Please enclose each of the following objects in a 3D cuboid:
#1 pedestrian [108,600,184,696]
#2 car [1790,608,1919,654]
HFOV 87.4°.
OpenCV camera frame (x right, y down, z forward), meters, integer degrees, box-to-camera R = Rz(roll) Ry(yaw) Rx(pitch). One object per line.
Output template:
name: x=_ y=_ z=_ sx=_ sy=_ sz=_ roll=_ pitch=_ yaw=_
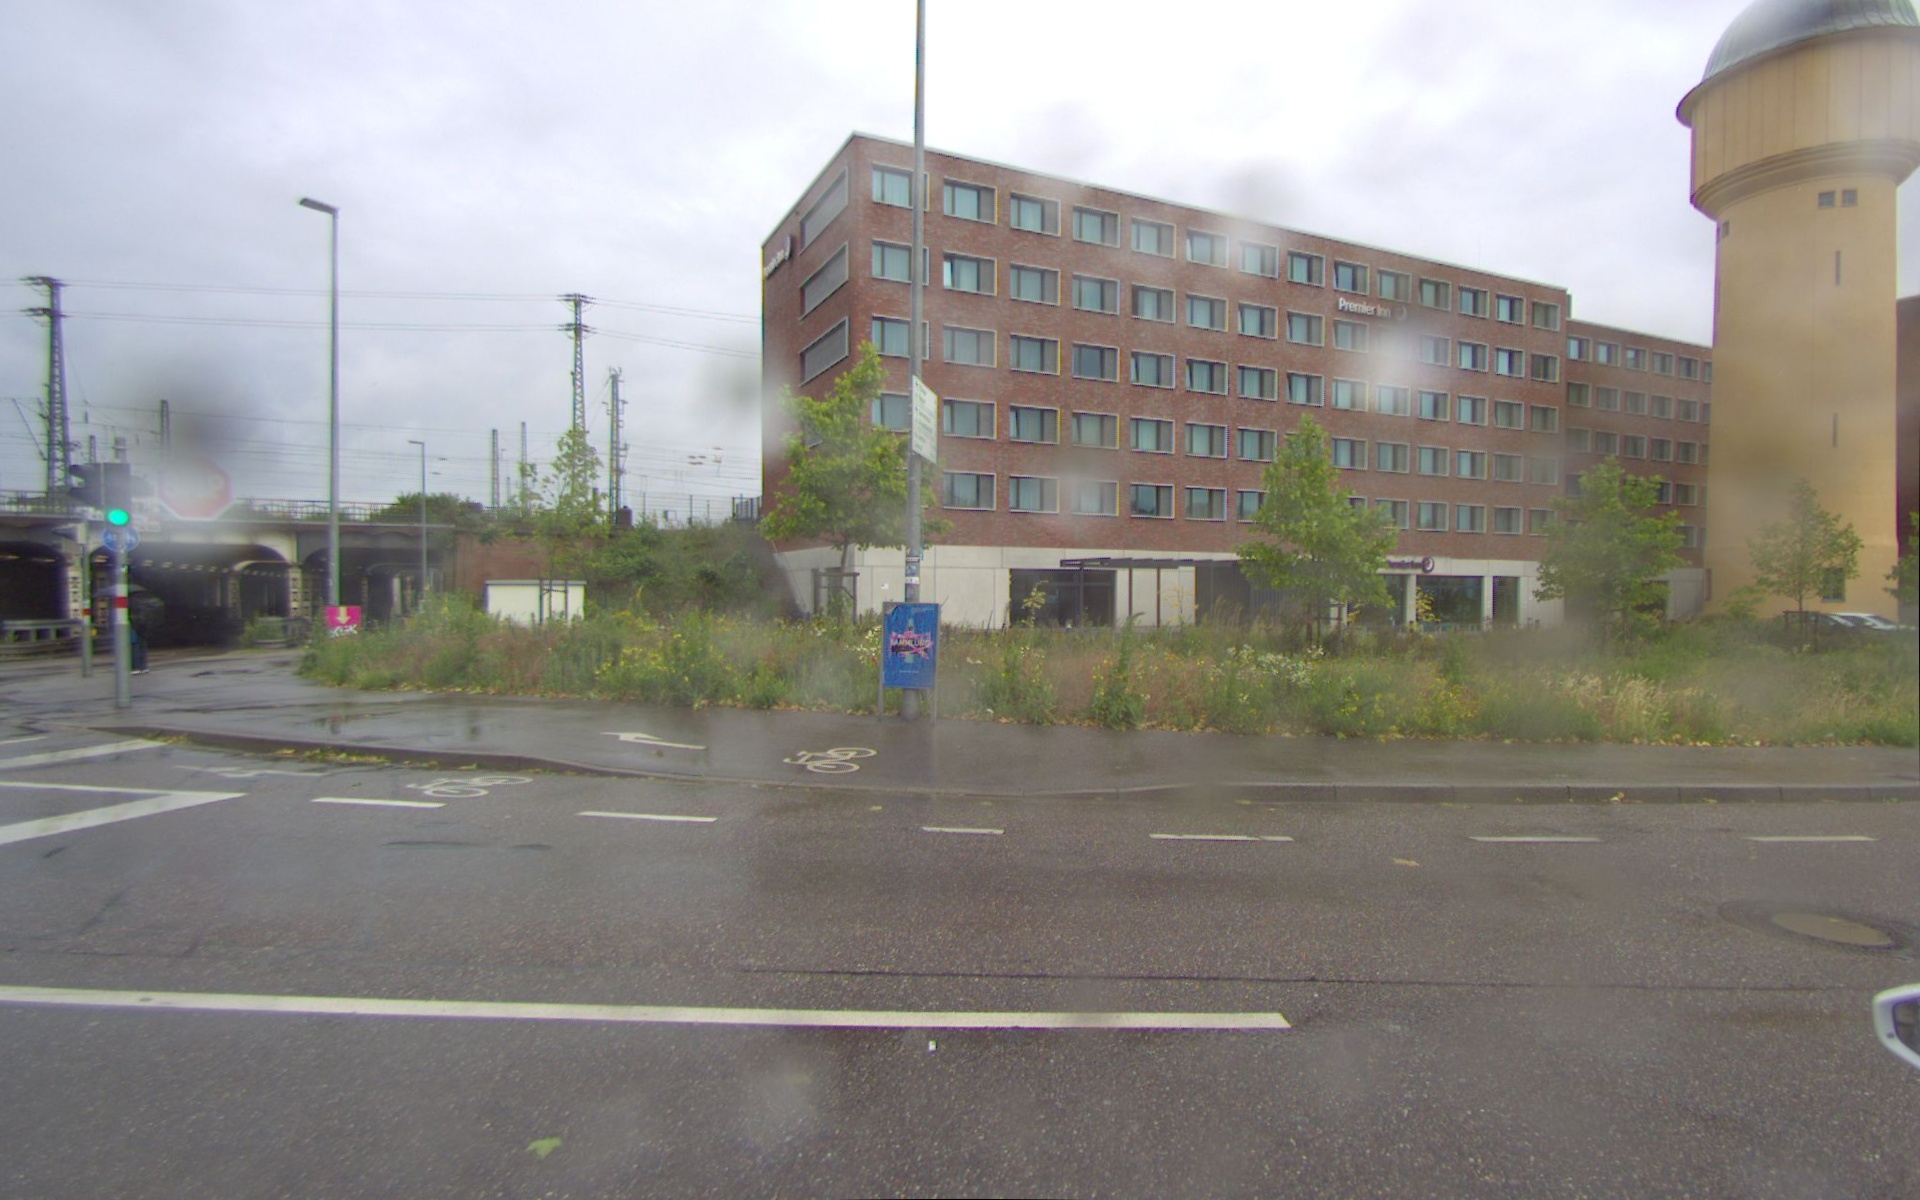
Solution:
pedestrian: x=-17.008 y=0.977 z=21.028 sx=0.907 sy=1.934 sz=1.318 roll=0 pitch=0 yaw=-24
car: x=35.369 y=1.164 z=38.982 sx=1.977 sy=1.663 sz=4.498 roll=1 pitch=0 yaw=-31
